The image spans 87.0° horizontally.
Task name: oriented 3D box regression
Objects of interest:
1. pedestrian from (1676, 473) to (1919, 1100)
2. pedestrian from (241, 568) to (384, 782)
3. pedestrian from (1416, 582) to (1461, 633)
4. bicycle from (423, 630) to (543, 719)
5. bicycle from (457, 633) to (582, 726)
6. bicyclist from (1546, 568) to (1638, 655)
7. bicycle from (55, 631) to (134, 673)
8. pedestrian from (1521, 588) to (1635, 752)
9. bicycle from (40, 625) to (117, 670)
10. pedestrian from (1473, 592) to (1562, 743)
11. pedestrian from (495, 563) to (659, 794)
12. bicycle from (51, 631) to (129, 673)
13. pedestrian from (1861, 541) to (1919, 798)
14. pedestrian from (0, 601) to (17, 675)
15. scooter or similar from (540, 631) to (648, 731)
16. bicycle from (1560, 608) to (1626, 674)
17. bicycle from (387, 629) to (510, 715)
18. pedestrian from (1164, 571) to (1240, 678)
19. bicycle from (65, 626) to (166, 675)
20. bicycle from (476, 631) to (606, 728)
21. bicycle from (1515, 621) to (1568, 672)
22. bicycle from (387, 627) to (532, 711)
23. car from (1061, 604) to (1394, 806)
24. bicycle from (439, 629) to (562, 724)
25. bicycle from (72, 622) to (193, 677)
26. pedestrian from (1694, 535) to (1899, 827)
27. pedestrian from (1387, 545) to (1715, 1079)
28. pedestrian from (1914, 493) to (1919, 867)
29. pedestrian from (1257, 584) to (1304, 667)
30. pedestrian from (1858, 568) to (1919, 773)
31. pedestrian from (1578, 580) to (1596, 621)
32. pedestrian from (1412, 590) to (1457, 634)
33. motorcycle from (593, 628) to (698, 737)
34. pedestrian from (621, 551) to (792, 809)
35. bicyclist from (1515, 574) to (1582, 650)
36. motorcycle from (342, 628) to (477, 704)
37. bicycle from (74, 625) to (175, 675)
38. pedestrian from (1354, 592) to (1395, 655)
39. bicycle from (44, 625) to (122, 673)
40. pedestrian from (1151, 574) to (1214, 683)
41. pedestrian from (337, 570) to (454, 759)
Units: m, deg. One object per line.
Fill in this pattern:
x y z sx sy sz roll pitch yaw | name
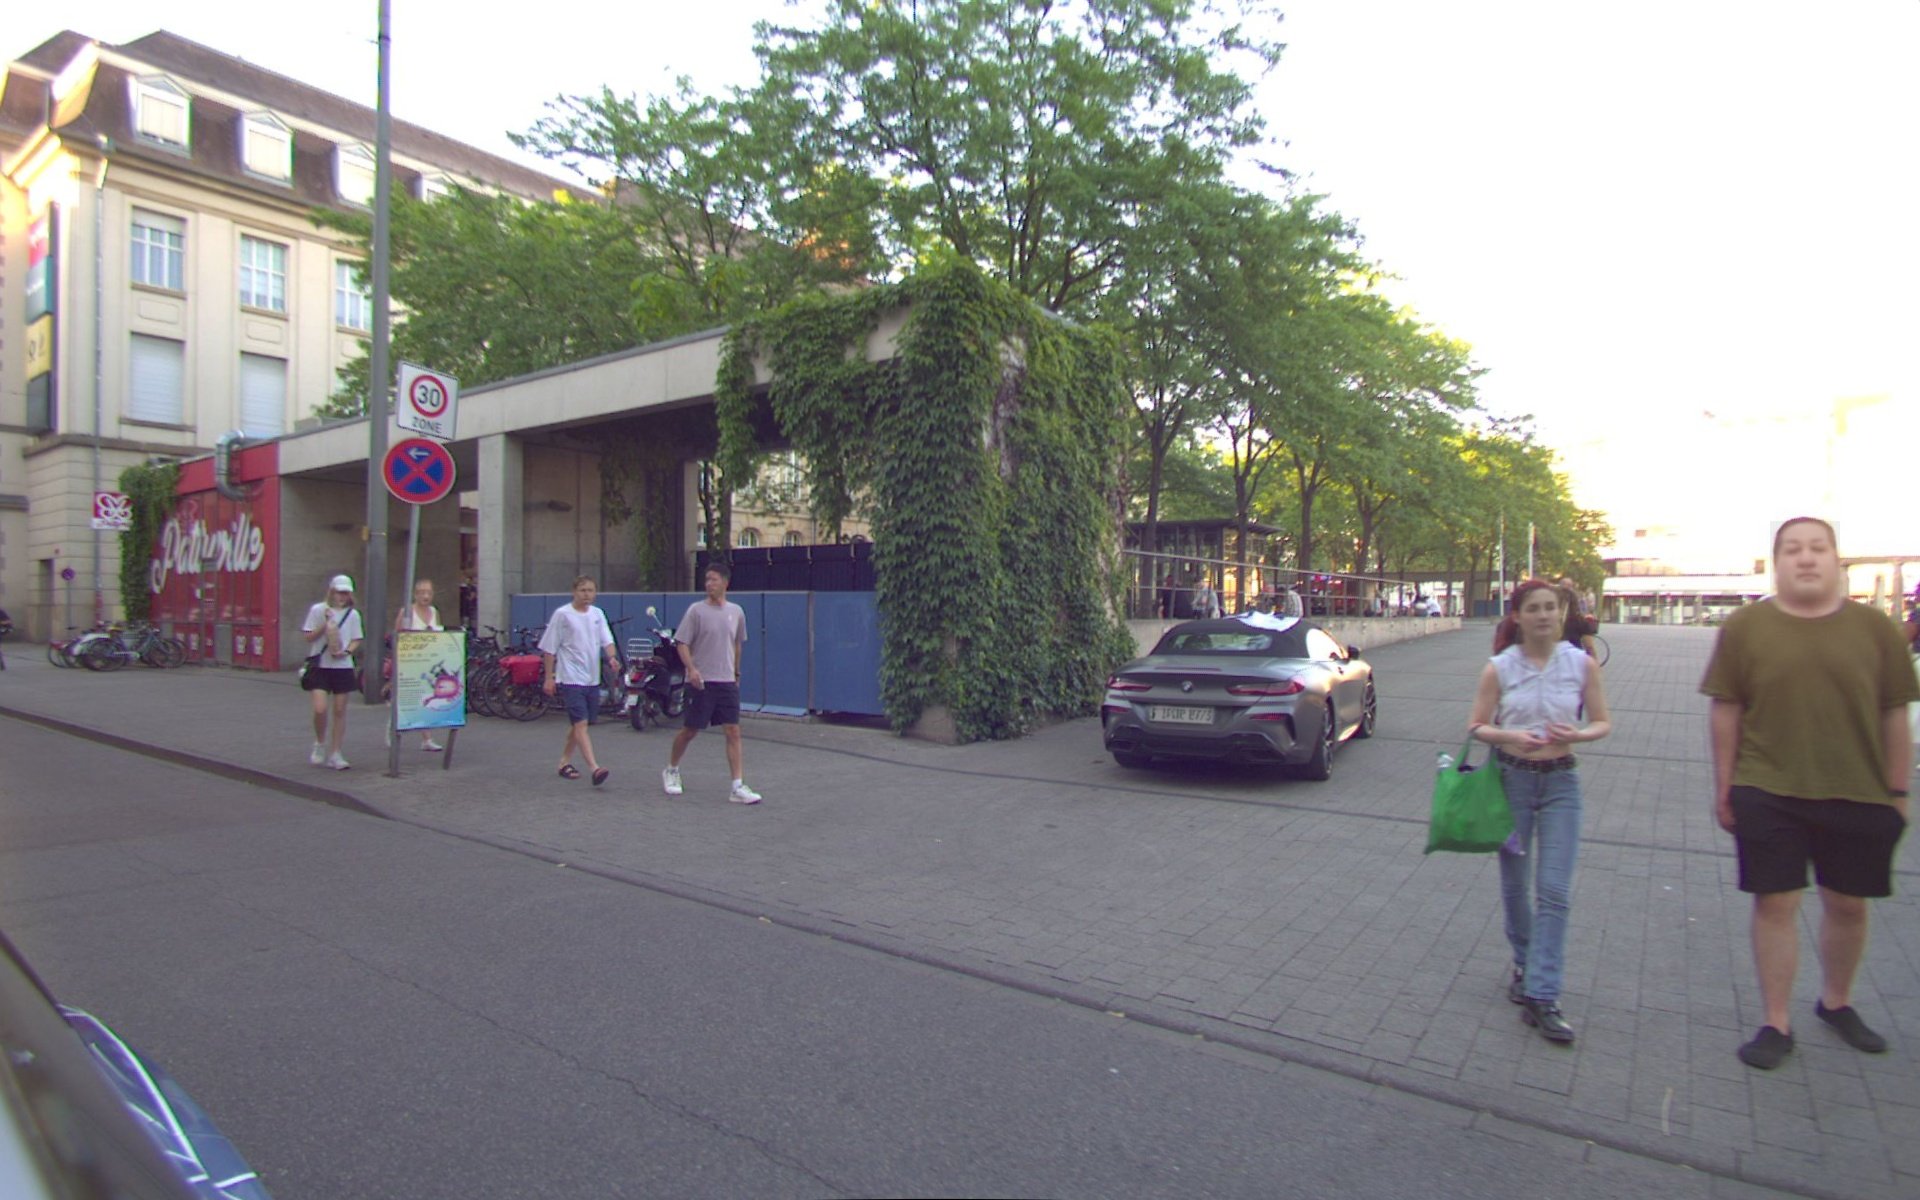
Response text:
3.040 0.561 3.417 0.703 1.891 0.853 -1 0 -41 | pedestrian
-5.868 0.636 9.176 0.868 1.807 0.841 -1 0 39 | pedestrian
15.821 0.262 33.467 1.264 1.660 0.700 -1 -1 34 | pedestrian
-6.454 0.981 13.765 0.410 1.096 1.481 -1 0 33 | bicycle
-5.675 0.990 13.100 0.441 1.077 1.481 -1 0 33 | bicycle
11.469 0.201 18.391 1.377 1.521 0.745 0 -1 32 | bicyclist
-21.740 1.295 25.440 0.311 0.963 1.487 -1 0 28 | bicycle
6.336 0.682 10.381 0.719 1.594 0.800 -1 0 -40 | pedestrian
-22.577 1.196 25.947 0.311 1.084 1.487 -1 0 28 | bicycle
5.999 0.696 10.891 0.584 1.554 0.680 -1 0 -45 | pedestrian
-3.237 0.613 8.580 0.889 1.807 0.972 -1 0 39 | pedestrian
-22.001 1.300 25.609 0.311 0.986 1.487 -1 0 28 | bicycle
7.409 0.507 7.509 0.704 1.889 0.782 -1 0 -3 | pedestrian
-22.953 0.895 24.012 0.821 1.740 0.921 0 -1 -44 | pedestrian
-4.454 0.960 12.416 0.407 1.096 1.488 -1 0 19 | scooter or similar
11.422 0.696 18.216 0.949 1.110 2.302 0 -1 34 | bicycle
-7.161 0.982 14.222 0.436 1.096 1.476 -1 0 43 | bicycle
4.299 0.424 17.983 1.120 1.833 0.694 -1 -1 35 | pedestrian
-20.225 1.190 24.265 0.354 1.091 1.820 -1 0 42 | bicycle
-5.287 0.975 12.844 0.546 1.096 1.481 -1 0 33 | bicycle
10.957 0.852 19.061 0.639 0.888 1.609 -1 -1 38 | bicycle
-7.320 0.983 14.874 0.549 1.095 1.849 -1 0 38 | bicycle
2.862 0.800 9.974 2.098 1.441 4.404 -1 0 30 | car
-6.012 0.973 13.312 0.410 1.120 1.481 -1 0 33 | bicycle
-19.491 1.142 23.881 0.445 1.164 2.152 -1 0 42 | bicycle
5.902 0.517 7.148 0.876 1.867 0.986 -1 0 -43 | pedestrian
2.064 0.669 3.670 0.876 1.681 0.710 -1 0 19 | pedestrian
3.438 0.570 2.812 0.702 1.816 0.885 -1 0 -15 | pedestrian
6.856 0.537 21.638 0.802 1.740 0.616 -1 -1 35 | pedestrian
8.589 0.597 8.926 0.707 1.759 0.686 -1 0 7 | pedestrian
30.366 0.044 49.033 0.727 1.963 0.797 0 -1 30 | pedestrian
15.466 0.385 32.989 1.264 1.390 0.729 0 -1 33 | pedestrian
-3.709 0.938 12.083 0.530 1.135 1.826 -1 0 5 | motorcycle
-2.023 0.586 8.104 0.889 1.898 0.972 -1 0 39 | pedestrian
11.203 0.232 19.278 1.010 1.400 0.691 -1 -1 39 | bicyclist
-8.516 1.004 15.740 1.797 1.077 0.535 -1 0 -25 | motorcycle
-19.822 1.171 24.050 0.354 1.091 1.820 -1 0 42 | bicycle
11.607 0.658 28.342 0.919 1.740 0.694 -1 -1 35 | pedestrian
-22.291 1.227 25.754 0.311 1.149 1.487 -1 0 28 | bicycle
3.775 0.468 17.133 0.796 1.795 0.752 0 -1 38 | pedestrian
-5.707 0.613 10.240 0.736 1.807 0.802 -1 0 39 | pedestrian
